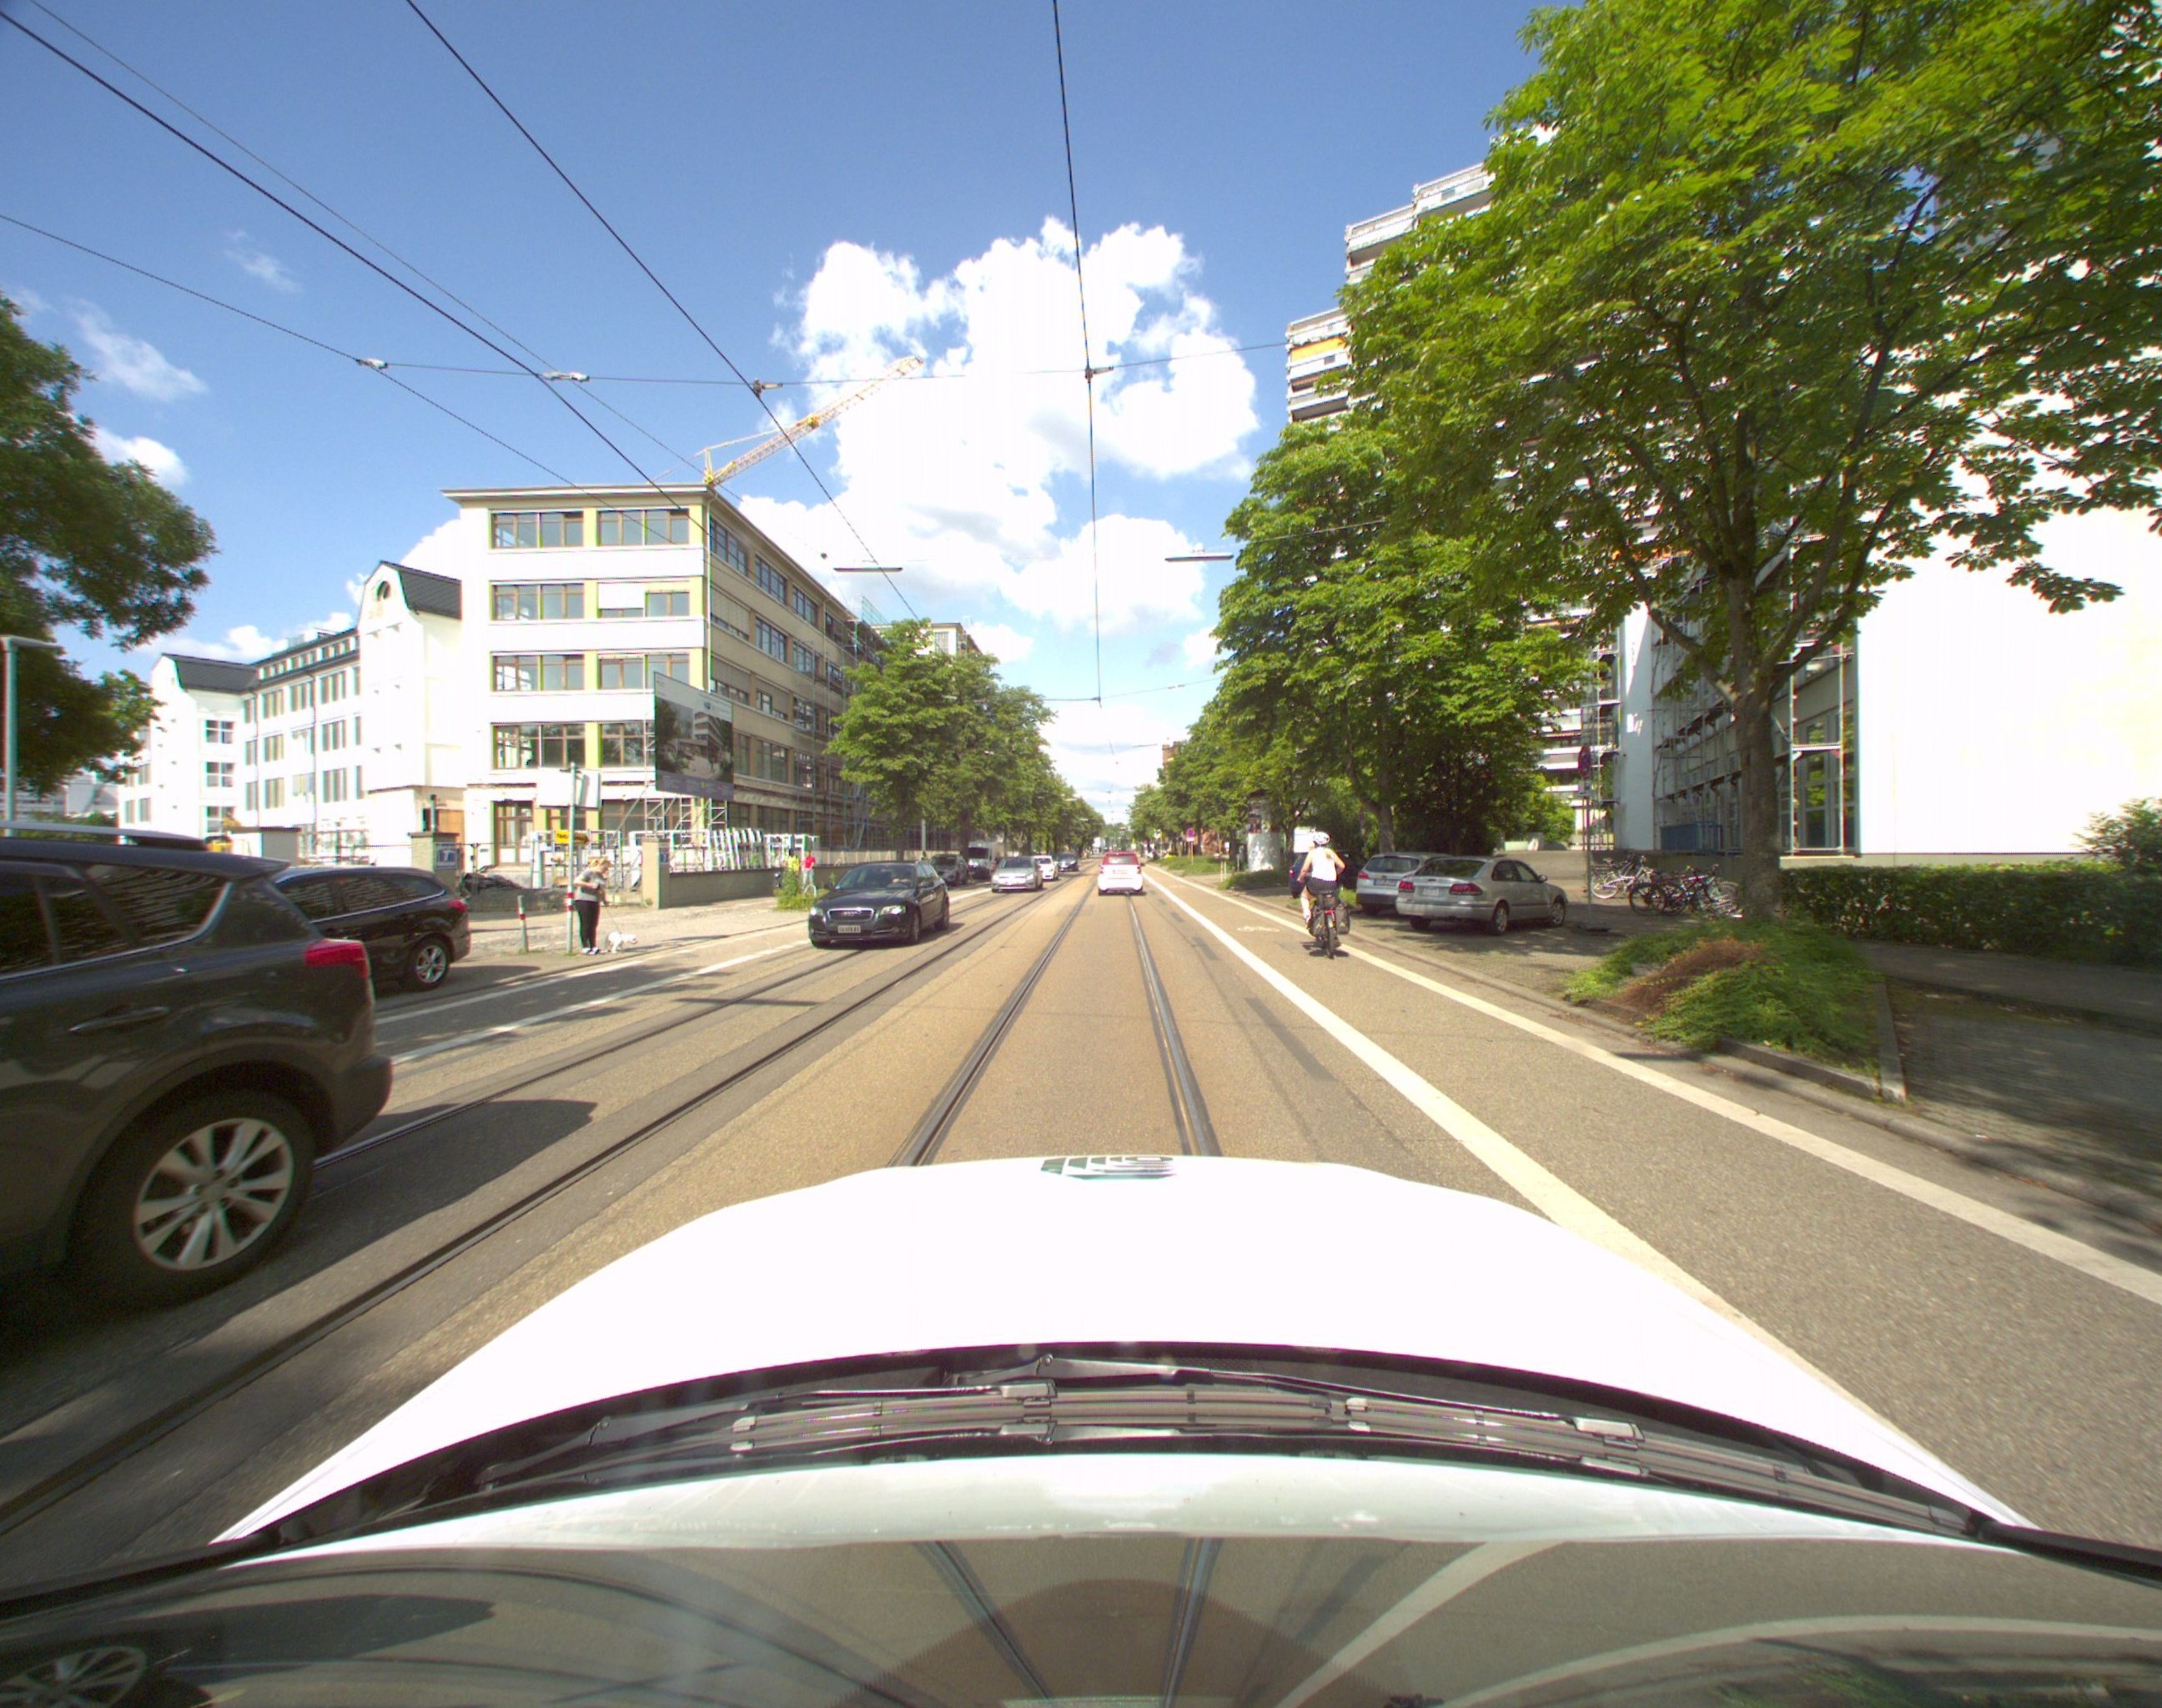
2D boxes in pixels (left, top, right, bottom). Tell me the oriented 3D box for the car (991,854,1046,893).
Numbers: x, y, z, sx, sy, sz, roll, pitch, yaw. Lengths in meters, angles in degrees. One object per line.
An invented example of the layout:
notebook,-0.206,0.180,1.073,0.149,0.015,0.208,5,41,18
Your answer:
car,-2.467,0.744,32.938,1.767,1.416,3.853,-3,0,1

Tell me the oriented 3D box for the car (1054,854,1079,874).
car,-1.135,0.778,65.772,1.793,1.508,4.537,0,0,1

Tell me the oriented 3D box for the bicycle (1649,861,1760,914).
bicycle,13.583,0.737,17.806,1.877,1.096,0.454,-2,0,33

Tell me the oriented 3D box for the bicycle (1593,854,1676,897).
bicycle,14.845,0.589,21.889,1.809,1.095,0.454,-2,2,33

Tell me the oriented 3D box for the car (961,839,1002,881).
car,-6.440,0.378,53.184,1.762,2.639,5.325,1,0,2

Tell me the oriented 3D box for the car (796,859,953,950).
car,-3.568,0.805,14.807,1.717,1.376,4.001,-2,0,1

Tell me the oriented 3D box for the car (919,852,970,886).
car,-7.041,0.729,42.517,1.797,1.662,4.105,1,0,2

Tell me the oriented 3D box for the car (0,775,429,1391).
car,-3.976,0.660,1.527,1.818,1.727,4.394,-1,1,2

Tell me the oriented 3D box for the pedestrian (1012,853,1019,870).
pedestrian,-7.967,0.931,99.359,0.802,2.013,0.484,-1,0,-7

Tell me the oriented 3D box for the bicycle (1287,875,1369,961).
bicycle,3.700,0.908,12.380,0.870,1.126,2.141,1,0,8

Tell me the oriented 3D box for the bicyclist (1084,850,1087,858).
bicyclist,0.920,0.019,176.859,0.656,1.579,0.946,1,0,1

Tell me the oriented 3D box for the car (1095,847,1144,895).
car,1.373,0.631,29.766,1.659,1.625,3.621,-1,-1,1

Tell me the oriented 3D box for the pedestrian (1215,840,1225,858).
pedestrian,15.460,-0.590,90.609,0.974,2.014,1.093,1,0,1

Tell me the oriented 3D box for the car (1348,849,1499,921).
car,8.010,0.645,18.928,3.824,1.474,1.634,0,1,-39

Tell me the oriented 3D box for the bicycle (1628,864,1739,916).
bicycle,12.990,0.781,17.618,1.877,1.053,0.454,-2,0,33

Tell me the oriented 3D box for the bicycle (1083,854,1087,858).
bicycle,0.887,0.481,176.922,0.616,0.973,1.718,0,0,3

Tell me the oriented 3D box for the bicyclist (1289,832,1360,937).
bicyclist,3.708,0.440,12.471,0.885,1.529,1.087,1,0,8

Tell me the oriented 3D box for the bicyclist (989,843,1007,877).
bicyclist,-4.997,0.363,49.171,0.873,2.014,0.834,-3,-1,1

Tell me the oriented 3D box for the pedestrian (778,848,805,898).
pedestrian,-10.494,0.674,29.539,0.706,1.793,0.661,1,0,-4

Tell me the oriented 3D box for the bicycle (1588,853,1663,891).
bicycle,15.974,0.519,23.950,1.809,1.095,0.454,-1,1,33

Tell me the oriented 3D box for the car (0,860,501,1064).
car,-8.554,0.837,8.486,1.744,1.516,4.590,1,0,-1

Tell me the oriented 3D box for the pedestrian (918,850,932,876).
pedestrian,-10.021,0.573,52.368,0.761,1.620,0.594,1,0,2

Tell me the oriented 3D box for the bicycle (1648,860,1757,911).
bicycle,13.857,0.710,18.229,1.877,1.096,0.454,-2,0,33

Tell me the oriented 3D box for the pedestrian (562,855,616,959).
pedestrian,-8.054,0.836,13.336,0.730,1.637,0.685,1,-1,-32

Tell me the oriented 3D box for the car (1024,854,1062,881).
car,-2.059,0.725,45.306,1.679,1.405,4.230,-1,0,3

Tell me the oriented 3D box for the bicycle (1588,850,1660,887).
bicycle,16.615,0.458,24.964,1.809,1.096,0.454,-1,1,33

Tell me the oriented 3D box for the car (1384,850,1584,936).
car,7.891,0.650,15.817,4.262,1.420,1.705,-1,1,-36

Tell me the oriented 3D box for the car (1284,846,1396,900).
car,8.200,0.546,25.643,4.023,1.486,1.596,-2,0,-44

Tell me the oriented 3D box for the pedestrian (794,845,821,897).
pedestrian,-9.900,0.594,29.525,0.706,1.831,0.661,2,1,-4

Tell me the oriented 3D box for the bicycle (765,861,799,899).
bicycle,-10.837,0.922,29.565,0.444,1.286,1.740,-1,0,4
